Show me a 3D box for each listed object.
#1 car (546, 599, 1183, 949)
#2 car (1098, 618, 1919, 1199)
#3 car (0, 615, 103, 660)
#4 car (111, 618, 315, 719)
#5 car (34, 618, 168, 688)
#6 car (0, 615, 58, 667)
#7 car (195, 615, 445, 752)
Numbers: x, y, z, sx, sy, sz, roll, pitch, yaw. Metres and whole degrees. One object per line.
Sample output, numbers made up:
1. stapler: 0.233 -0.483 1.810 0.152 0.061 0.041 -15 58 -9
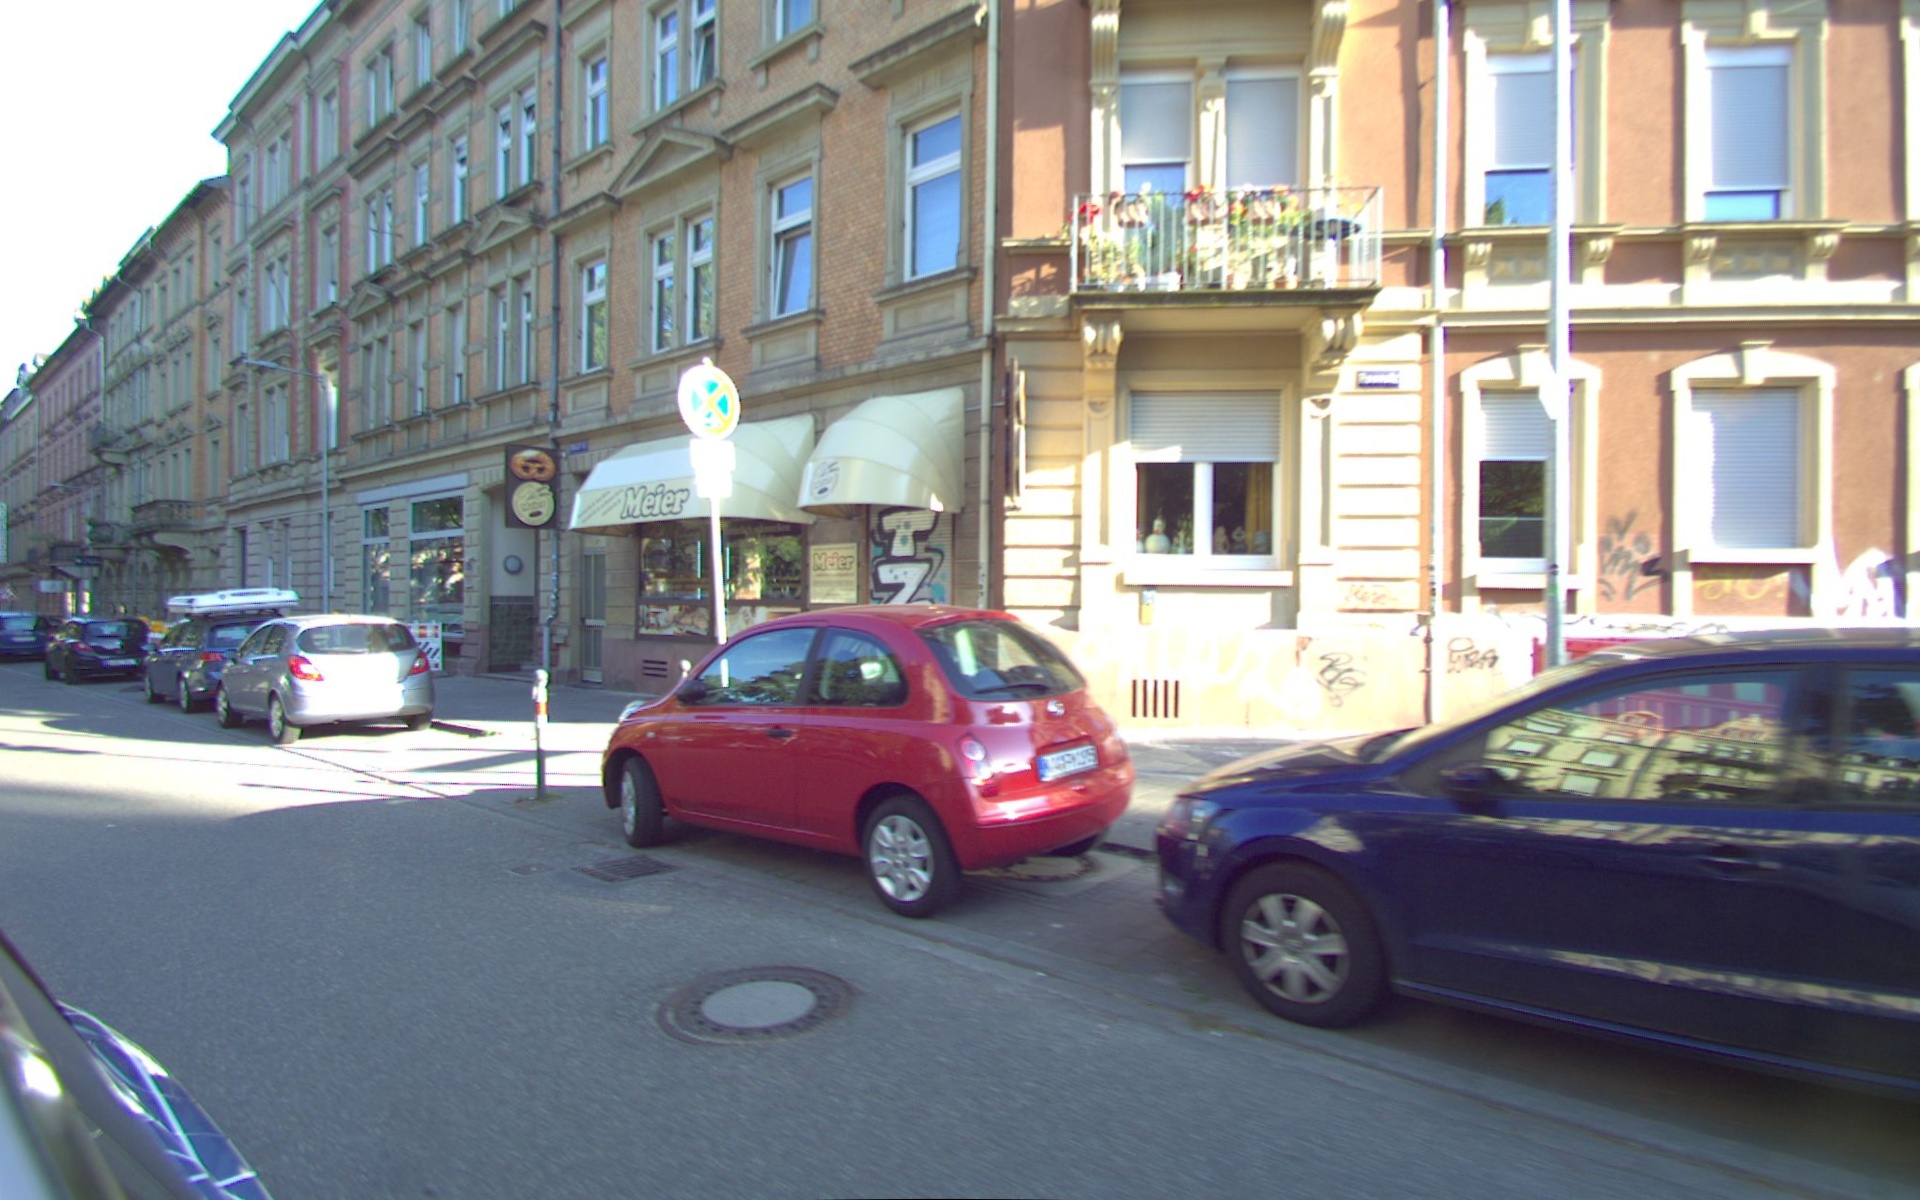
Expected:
1. car: -0.797 0.784 6.374 3.996 1.542 1.653 -1 -1 39
2. car: 2.615 0.815 3.515 3.998 1.469 1.652 -1 -1 41
3. car: -33.073 1.302 35.746 1.822 1.541 3.952 -1 -2 35
4. car: -12.402 1.033 16.713 4.297 1.448 1.747 -1 -1 40
5. car: -19.760 1.149 23.232 4.017 1.465 1.686 -1 -1 40
6. car: -30.513 1.291 32.616 3.893 1.579 1.723 -1 -2 42
7. car: -8.394 0.956 13.137 3.994 1.448 1.707 -1 1 42
